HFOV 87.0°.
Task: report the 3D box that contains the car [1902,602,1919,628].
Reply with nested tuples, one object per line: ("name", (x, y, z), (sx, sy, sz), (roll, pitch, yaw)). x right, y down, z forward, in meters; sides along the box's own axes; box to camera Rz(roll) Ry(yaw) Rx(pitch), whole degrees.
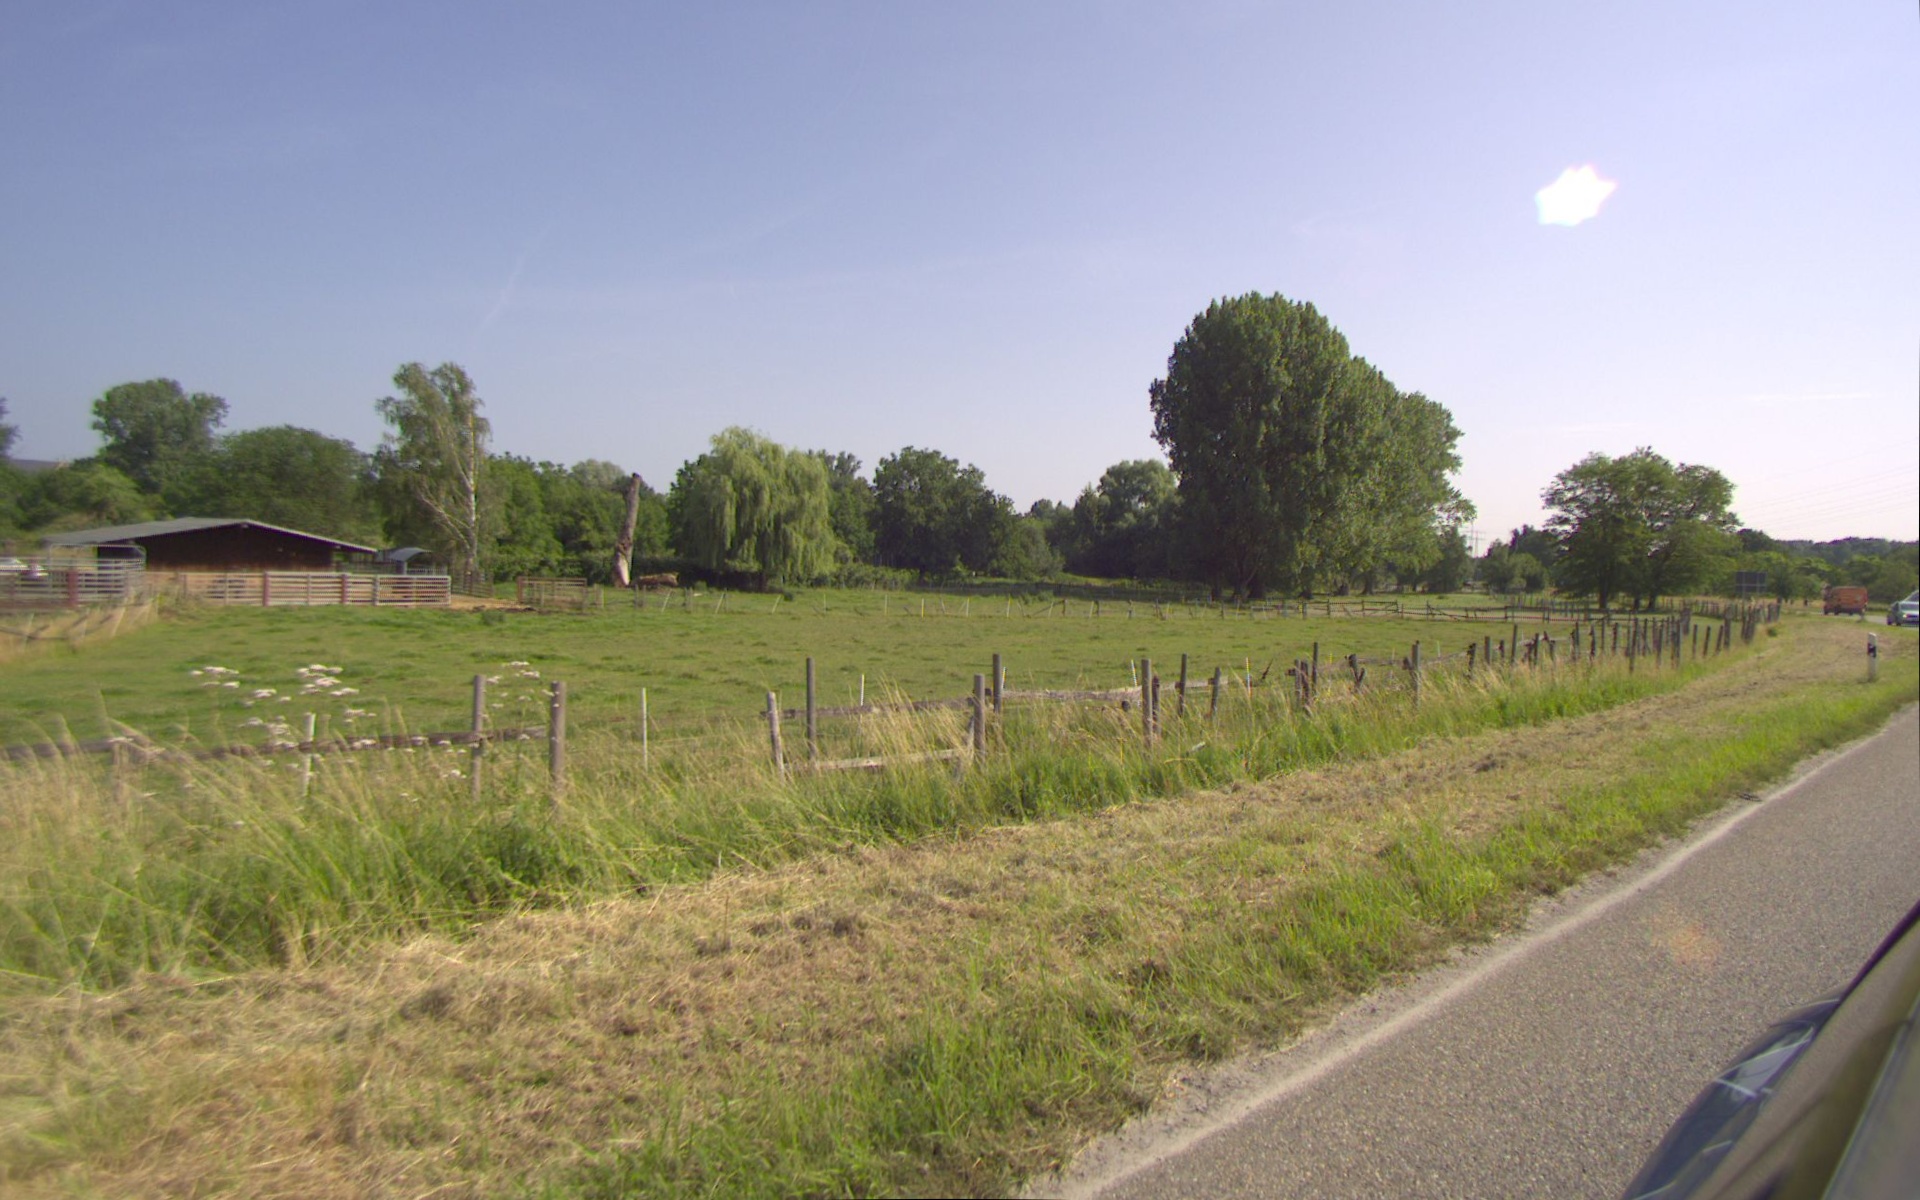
("car", (61.445, 0.961, 64.328), (1.989, 1.600, 3.855), (0, 0, 38))

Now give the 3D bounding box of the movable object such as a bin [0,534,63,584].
("movable object such as a bin", (-43.551, -1.883, 46.019), (4.091, 2.221, 1.997), (0, 1, -41))

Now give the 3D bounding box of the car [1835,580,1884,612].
("car", (81.627, -0.385, 91.954), (2.112, 2.729, 5.215), (2, 1, 29))

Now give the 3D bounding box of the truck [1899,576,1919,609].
("truck", (91.581, -0.628, 93.109), (7.326, 3.083, 2.549), (2, 1, 38))
